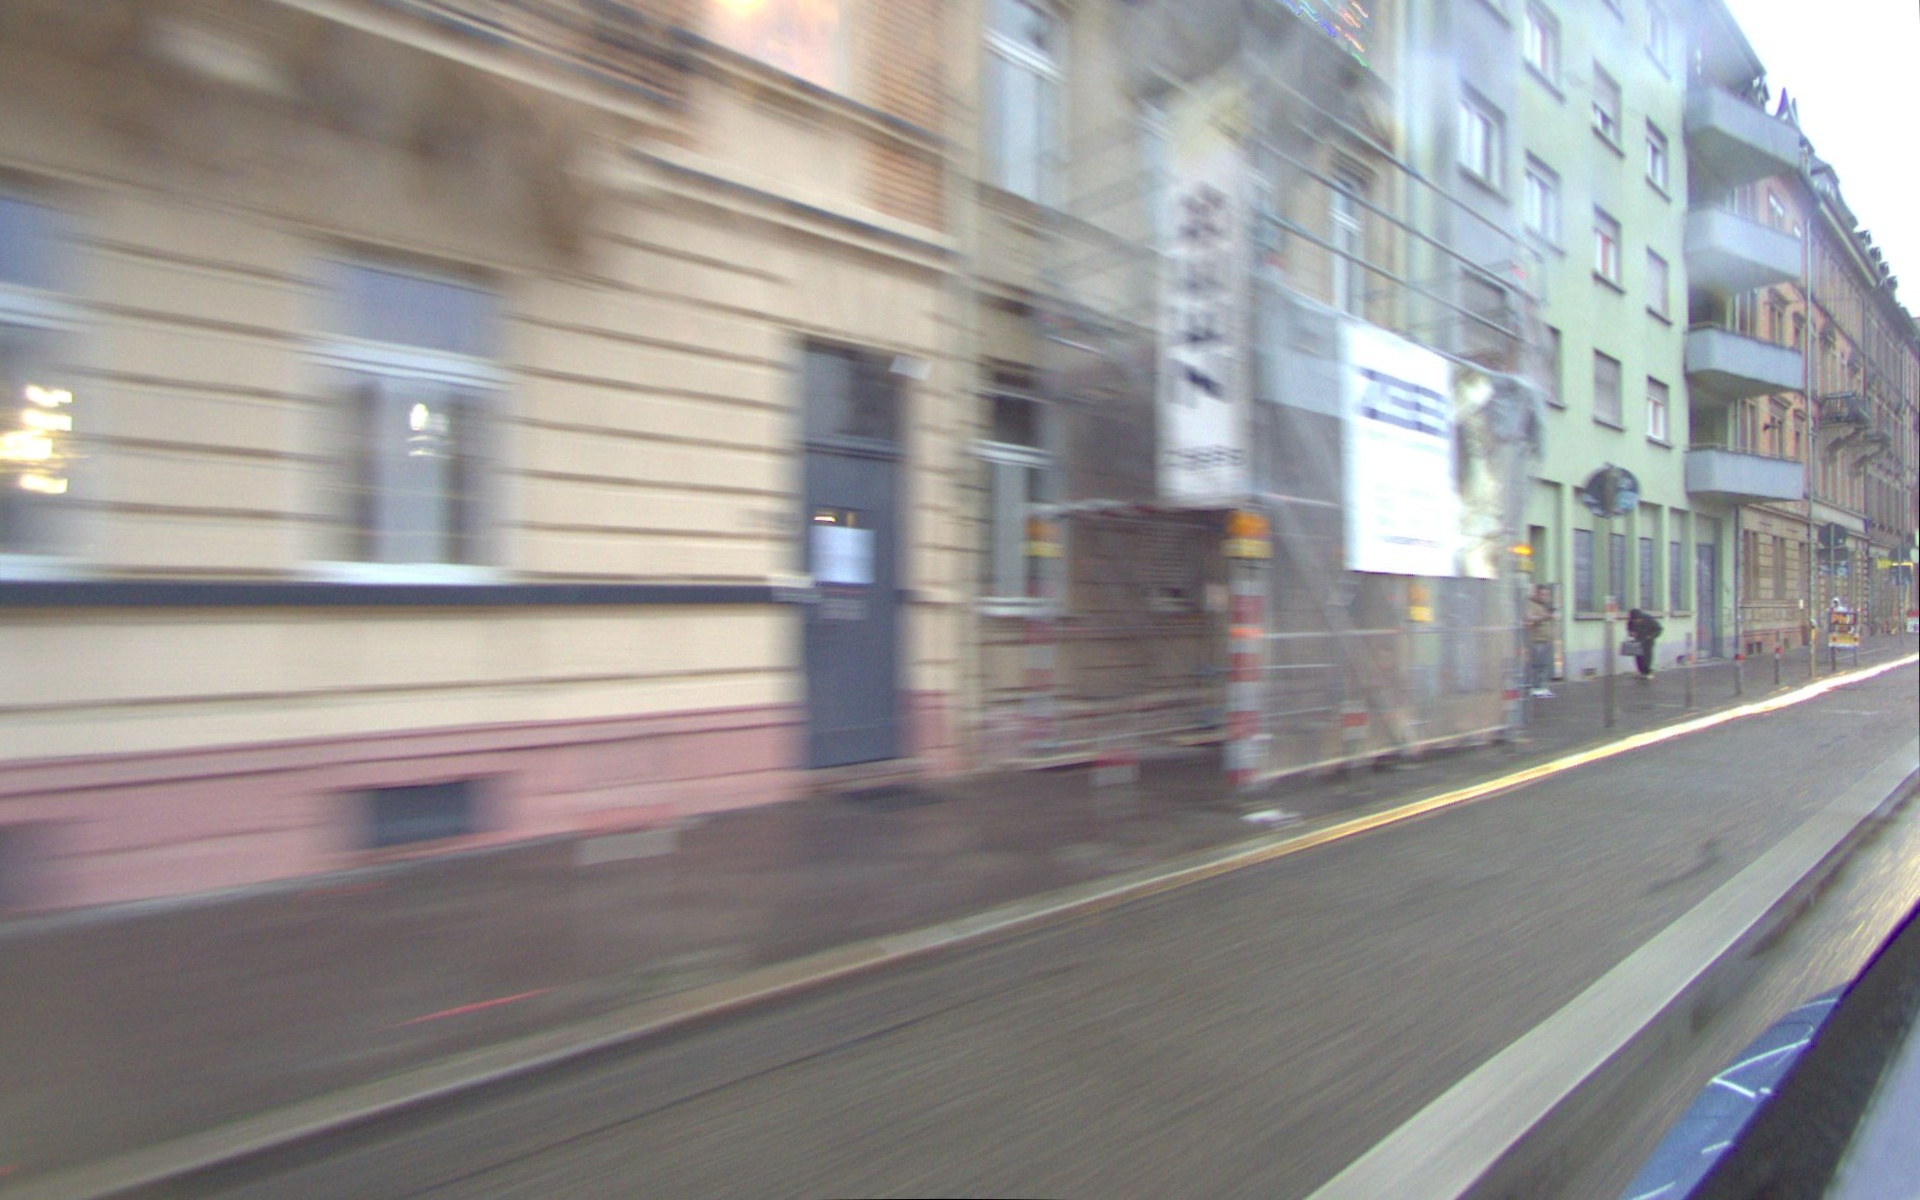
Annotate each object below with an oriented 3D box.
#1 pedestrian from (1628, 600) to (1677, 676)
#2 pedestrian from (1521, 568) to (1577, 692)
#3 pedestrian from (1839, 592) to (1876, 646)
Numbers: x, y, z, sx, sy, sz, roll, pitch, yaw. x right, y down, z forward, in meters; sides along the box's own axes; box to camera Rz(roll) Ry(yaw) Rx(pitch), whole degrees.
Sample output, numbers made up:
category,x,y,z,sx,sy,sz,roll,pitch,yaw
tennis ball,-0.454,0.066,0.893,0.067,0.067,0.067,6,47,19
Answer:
category,x,y,z,sx,sy,sz,roll,pitch,yaw
pedestrian,13.146,0.703,19.216,0.716,1.394,0.601,0,-1,-41
pedestrian,8.989,0.440,15.470,0.593,1.841,0.770,-1,0,22
pedestrian,27.885,0.577,31.441,0.729,1.617,0.787,0,0,-42
